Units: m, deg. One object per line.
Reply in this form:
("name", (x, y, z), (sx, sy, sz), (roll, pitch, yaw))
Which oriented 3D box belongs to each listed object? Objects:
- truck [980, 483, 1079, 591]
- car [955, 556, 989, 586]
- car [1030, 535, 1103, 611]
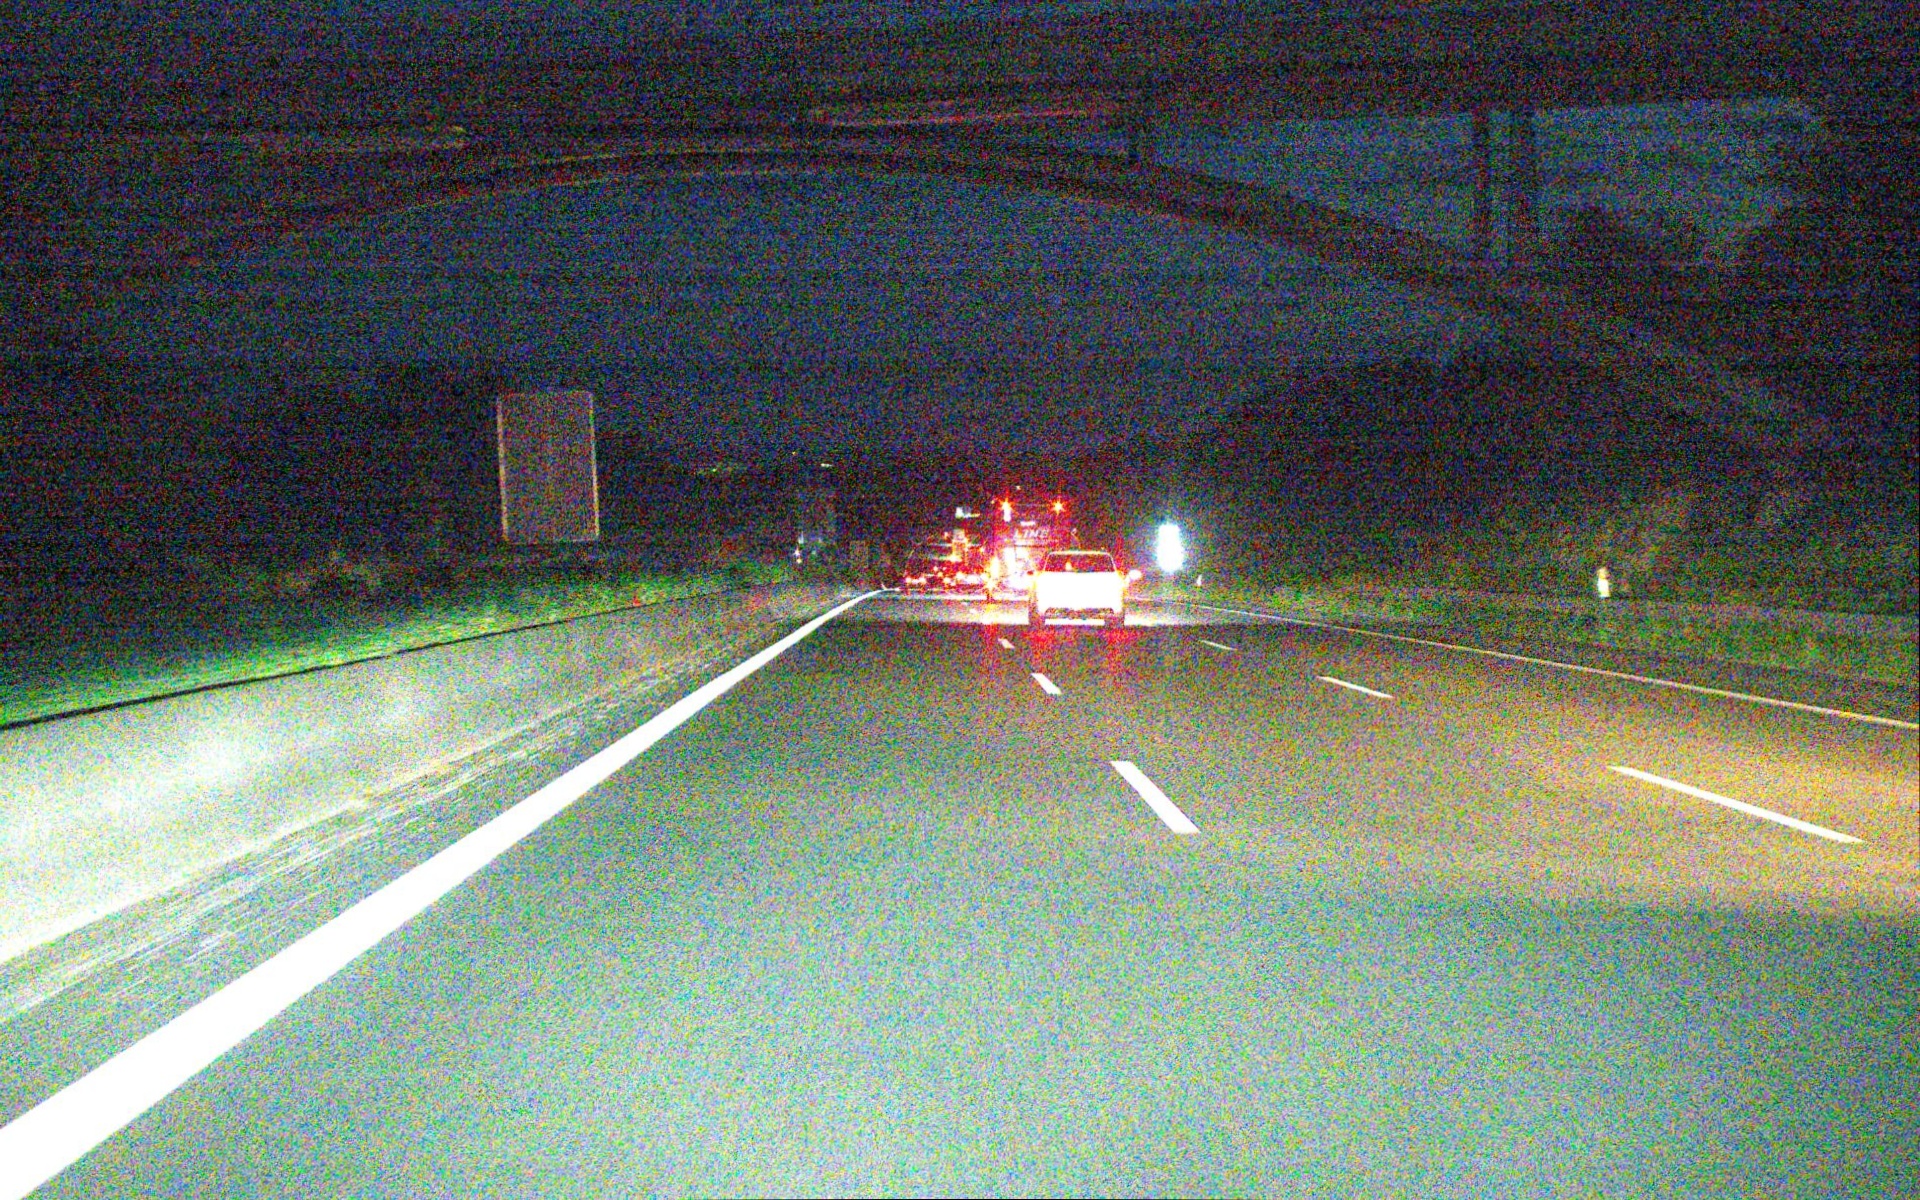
("truck", (2.225, -2.170, 114.189), (3.044, 3.313, 10.143), (1, 2, 0))
("car", (0.651, -1.579, 185.081), (1.821, 1.461, 4.248), (1, 2, 0))
("car", (2.124, -0.569, 69.371), (1.346, 1.382, 3.502), (1, 2, 0))
